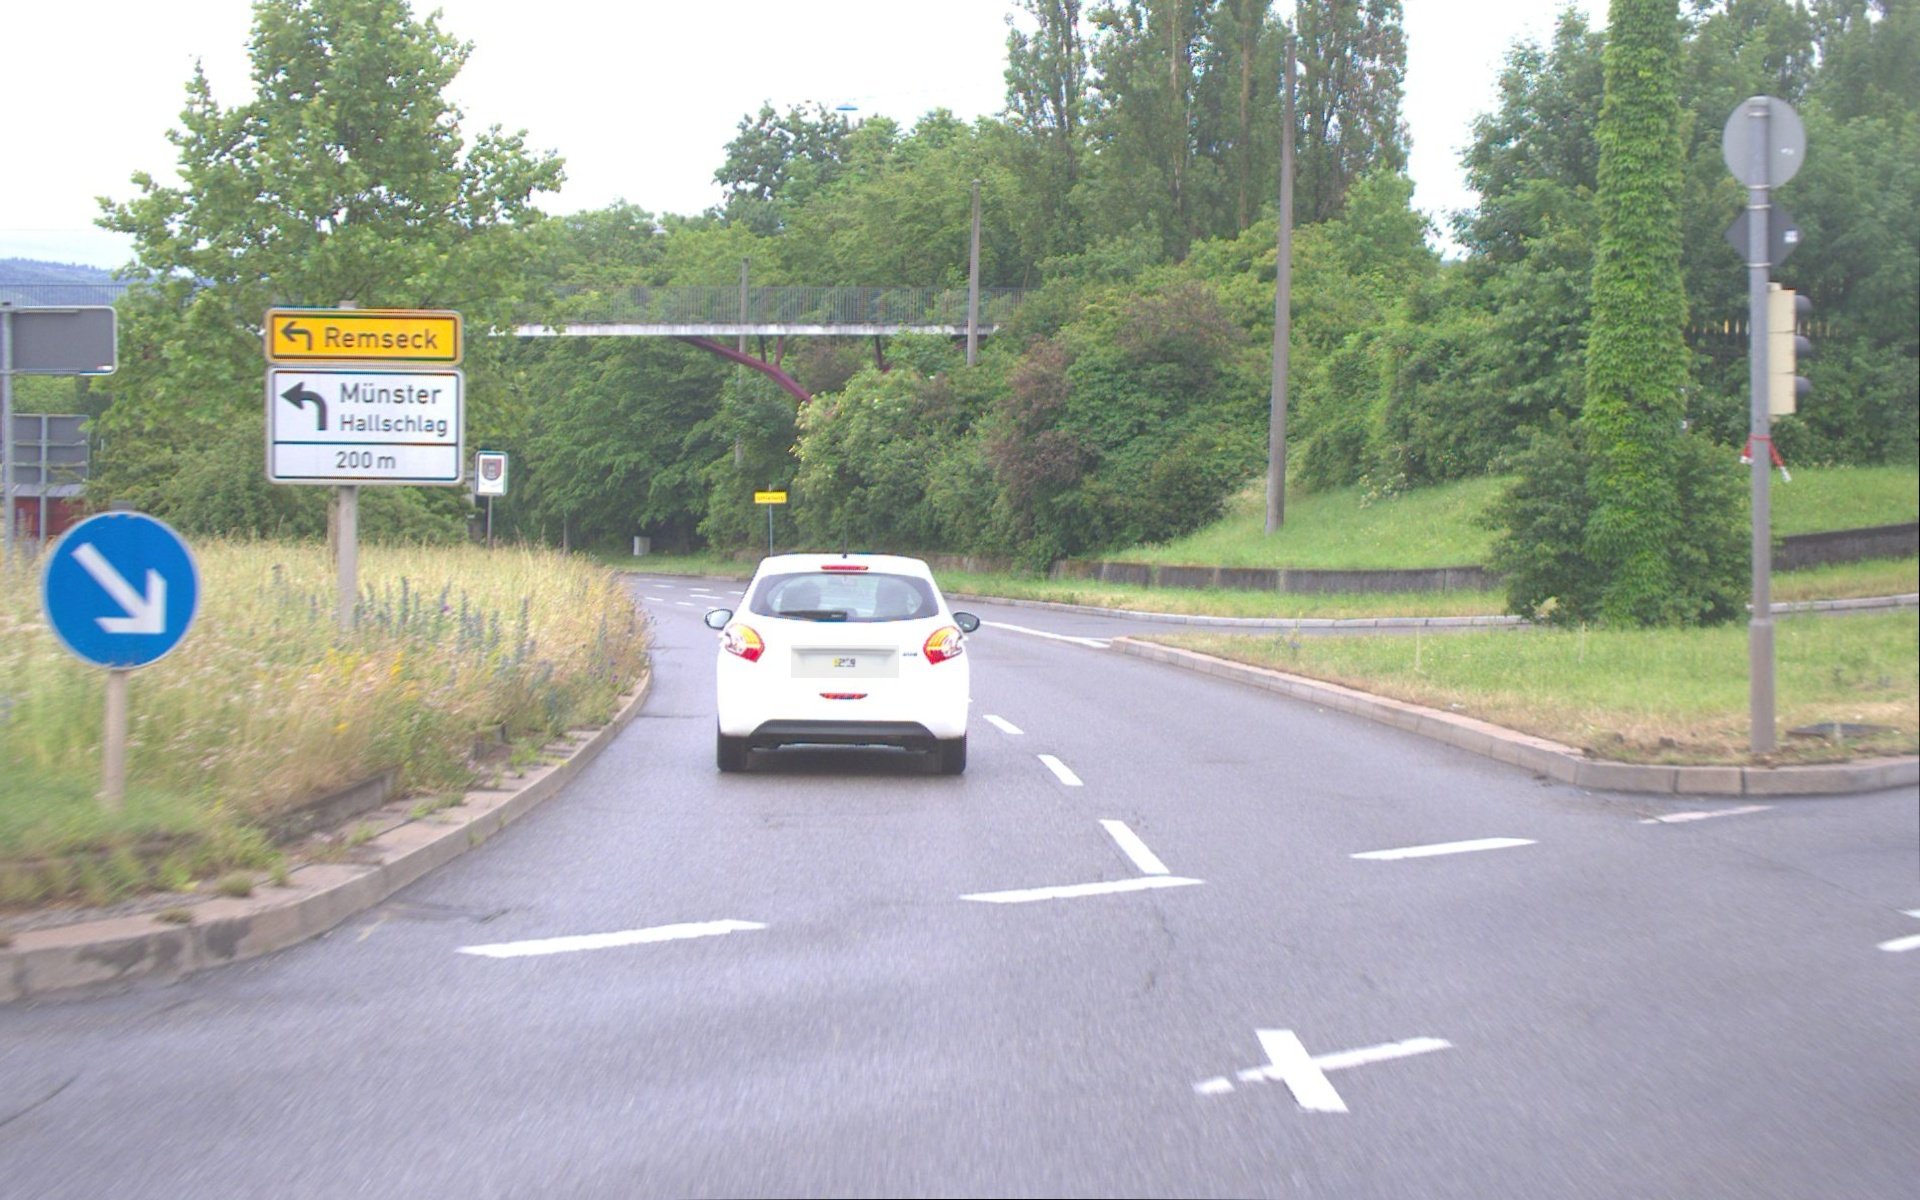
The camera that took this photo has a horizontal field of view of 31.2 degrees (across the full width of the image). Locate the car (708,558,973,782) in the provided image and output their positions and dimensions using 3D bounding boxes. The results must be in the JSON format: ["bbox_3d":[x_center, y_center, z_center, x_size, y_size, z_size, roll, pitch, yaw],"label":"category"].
[{"bbox_3d":[-0.815,0.439,24.099,1.708,1.435,3.691,0,0,-1],"label":"car"}]
